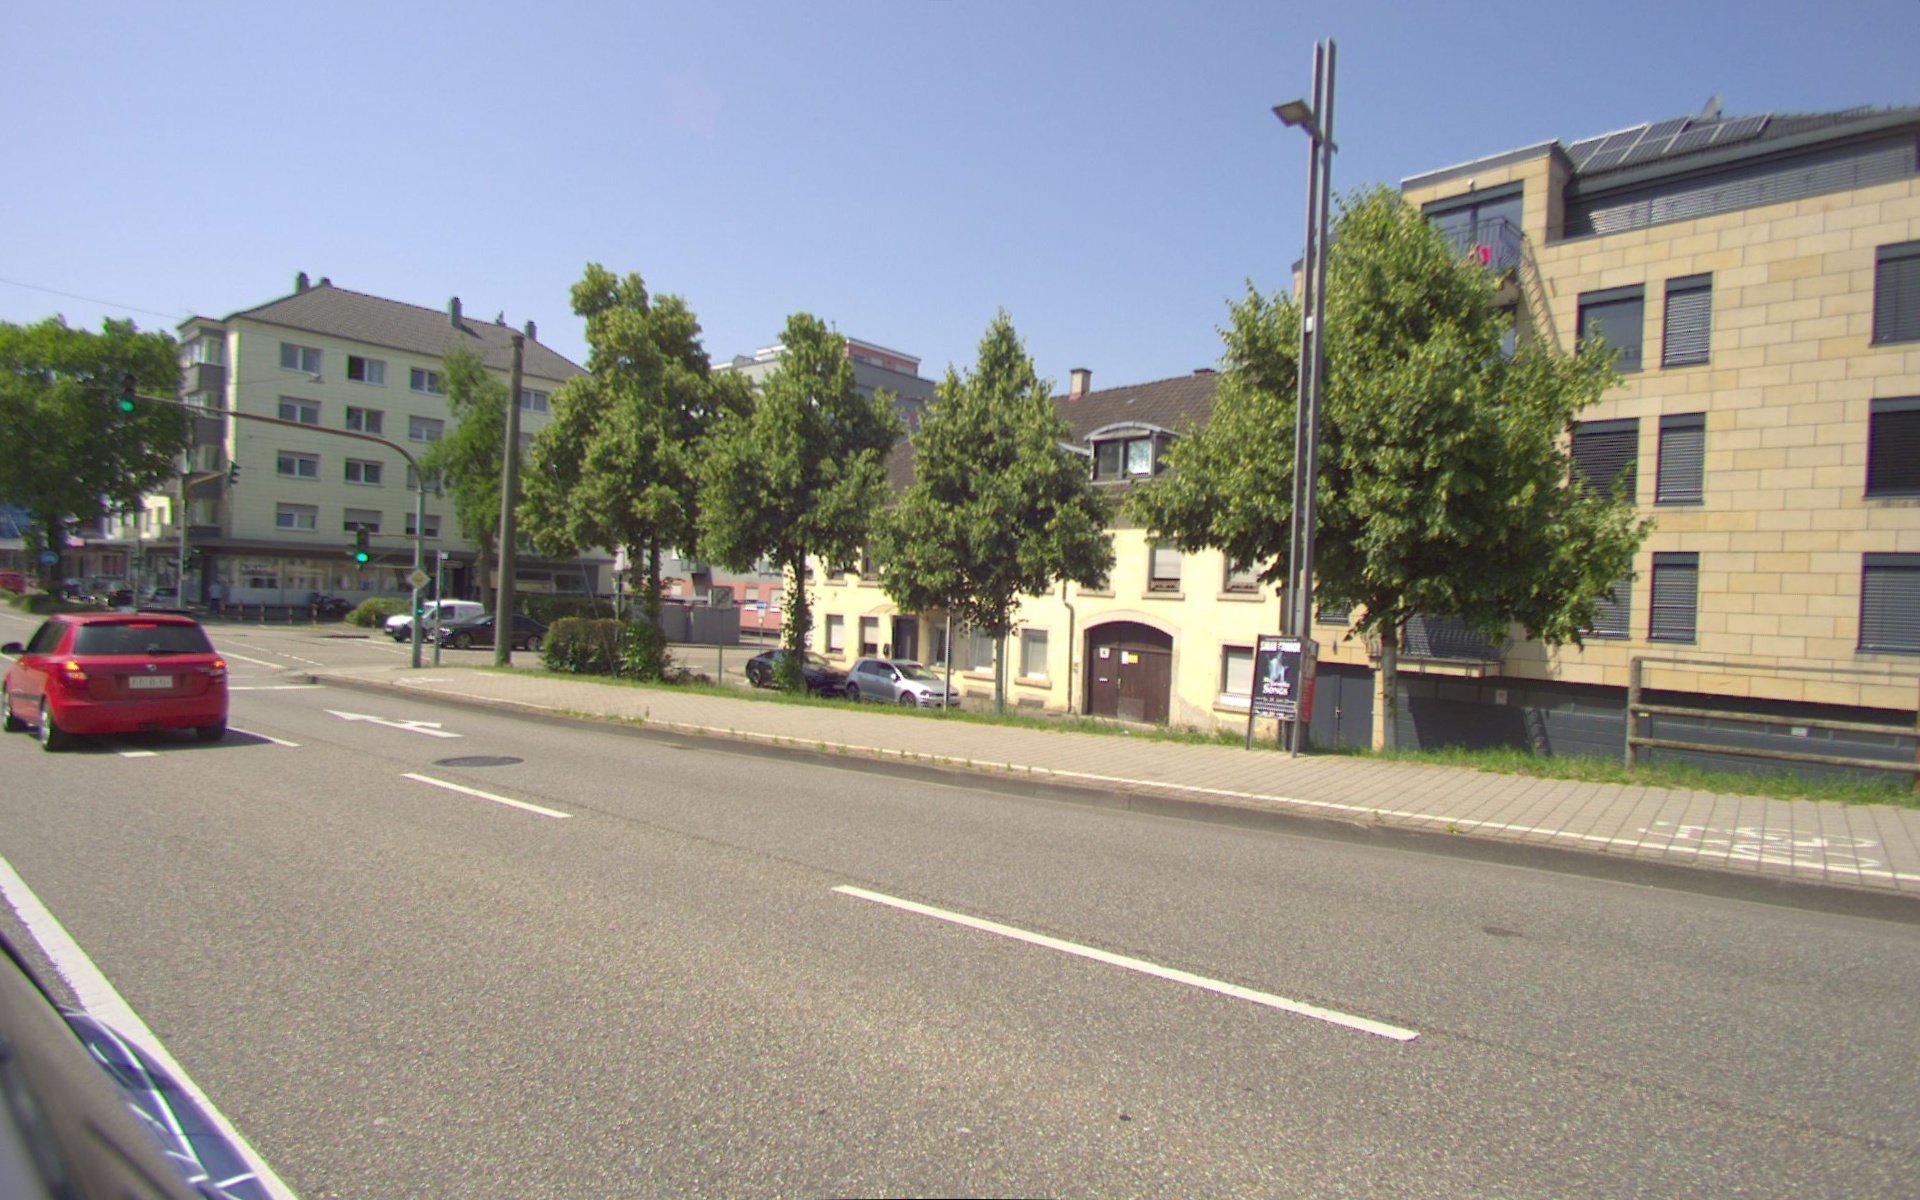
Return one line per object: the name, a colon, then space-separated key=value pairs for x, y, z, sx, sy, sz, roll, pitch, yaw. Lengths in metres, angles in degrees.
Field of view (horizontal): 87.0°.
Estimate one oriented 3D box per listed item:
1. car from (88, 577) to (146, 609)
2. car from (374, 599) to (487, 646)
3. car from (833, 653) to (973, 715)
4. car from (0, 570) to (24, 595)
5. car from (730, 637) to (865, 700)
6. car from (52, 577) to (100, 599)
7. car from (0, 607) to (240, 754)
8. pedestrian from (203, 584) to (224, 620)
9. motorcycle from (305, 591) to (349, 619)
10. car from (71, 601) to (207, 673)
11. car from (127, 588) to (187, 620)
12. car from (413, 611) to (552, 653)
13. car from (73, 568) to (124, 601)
car: x=-47.645 y=-0.404 z=57.170 sx=4.835 sy=1.580 sz=1.606 roll=3 pitch=1 yaw=39
car: x=-22.154 y=0.961 z=42.433 sx=1.891 sy=1.748 sz=3.651 roll=3 pitch=-2 yaw=37
car: x=-1.785 y=2.468 z=30.430 sx=1.755 sy=1.443 sz=4.434 roll=0 pitch=1 yaw=-43
car: x=-62.994 y=-1.182 z=66.537 sx=3.631 sy=1.479 sz=1.618 roll=3 pitch=0 yaw=40
car: x=-5.611 y=2.295 z=34.472 sx=1.793 sy=1.640 sz=5.292 roll=5 pitch=-1 yaw=-43
car: x=-56.354 y=-0.769 z=64.498 sx=3.857 sy=1.296 sz=1.683 roll=3 pitch=1 yaw=39
car: x=-10.229 y=0.837 z=12.045 sx=3.855 sy=1.475 sz=1.631 roll=0 pitch=-2 yaw=38
pedestrian: x=-38.176 y=0.107 z=51.770 sx=0.742 sy=1.773 sz=0.621 roll=4 pitch=1 yaw=39
motorcycle: x=-34.788 y=0.271 z=55.611 sx=0.714 sy=1.431 sz=1.895 roll=4 pitch=2 yaw=39
car: x=-19.527 y=0.858 z=24.023 sx=4.028 sy=1.496 sz=1.696 roll=1 pitch=-3 yaw=40
car: x=-41.451 y=0.179 z=52.214 sx=3.936 sy=1.469 sz=1.567 roll=3 pitch=1 yaw=39
car: x=-19.133 y=1.328 z=40.715 sx=2.112 sy=1.411 sz=4.564 roll=3 pitch=-2 yaw=35
car: x=-52.013 y=-0.943 z=61.102 sx=3.856 sy=1.853 sz=1.623 roll=2 pitch=1 yaw=39
